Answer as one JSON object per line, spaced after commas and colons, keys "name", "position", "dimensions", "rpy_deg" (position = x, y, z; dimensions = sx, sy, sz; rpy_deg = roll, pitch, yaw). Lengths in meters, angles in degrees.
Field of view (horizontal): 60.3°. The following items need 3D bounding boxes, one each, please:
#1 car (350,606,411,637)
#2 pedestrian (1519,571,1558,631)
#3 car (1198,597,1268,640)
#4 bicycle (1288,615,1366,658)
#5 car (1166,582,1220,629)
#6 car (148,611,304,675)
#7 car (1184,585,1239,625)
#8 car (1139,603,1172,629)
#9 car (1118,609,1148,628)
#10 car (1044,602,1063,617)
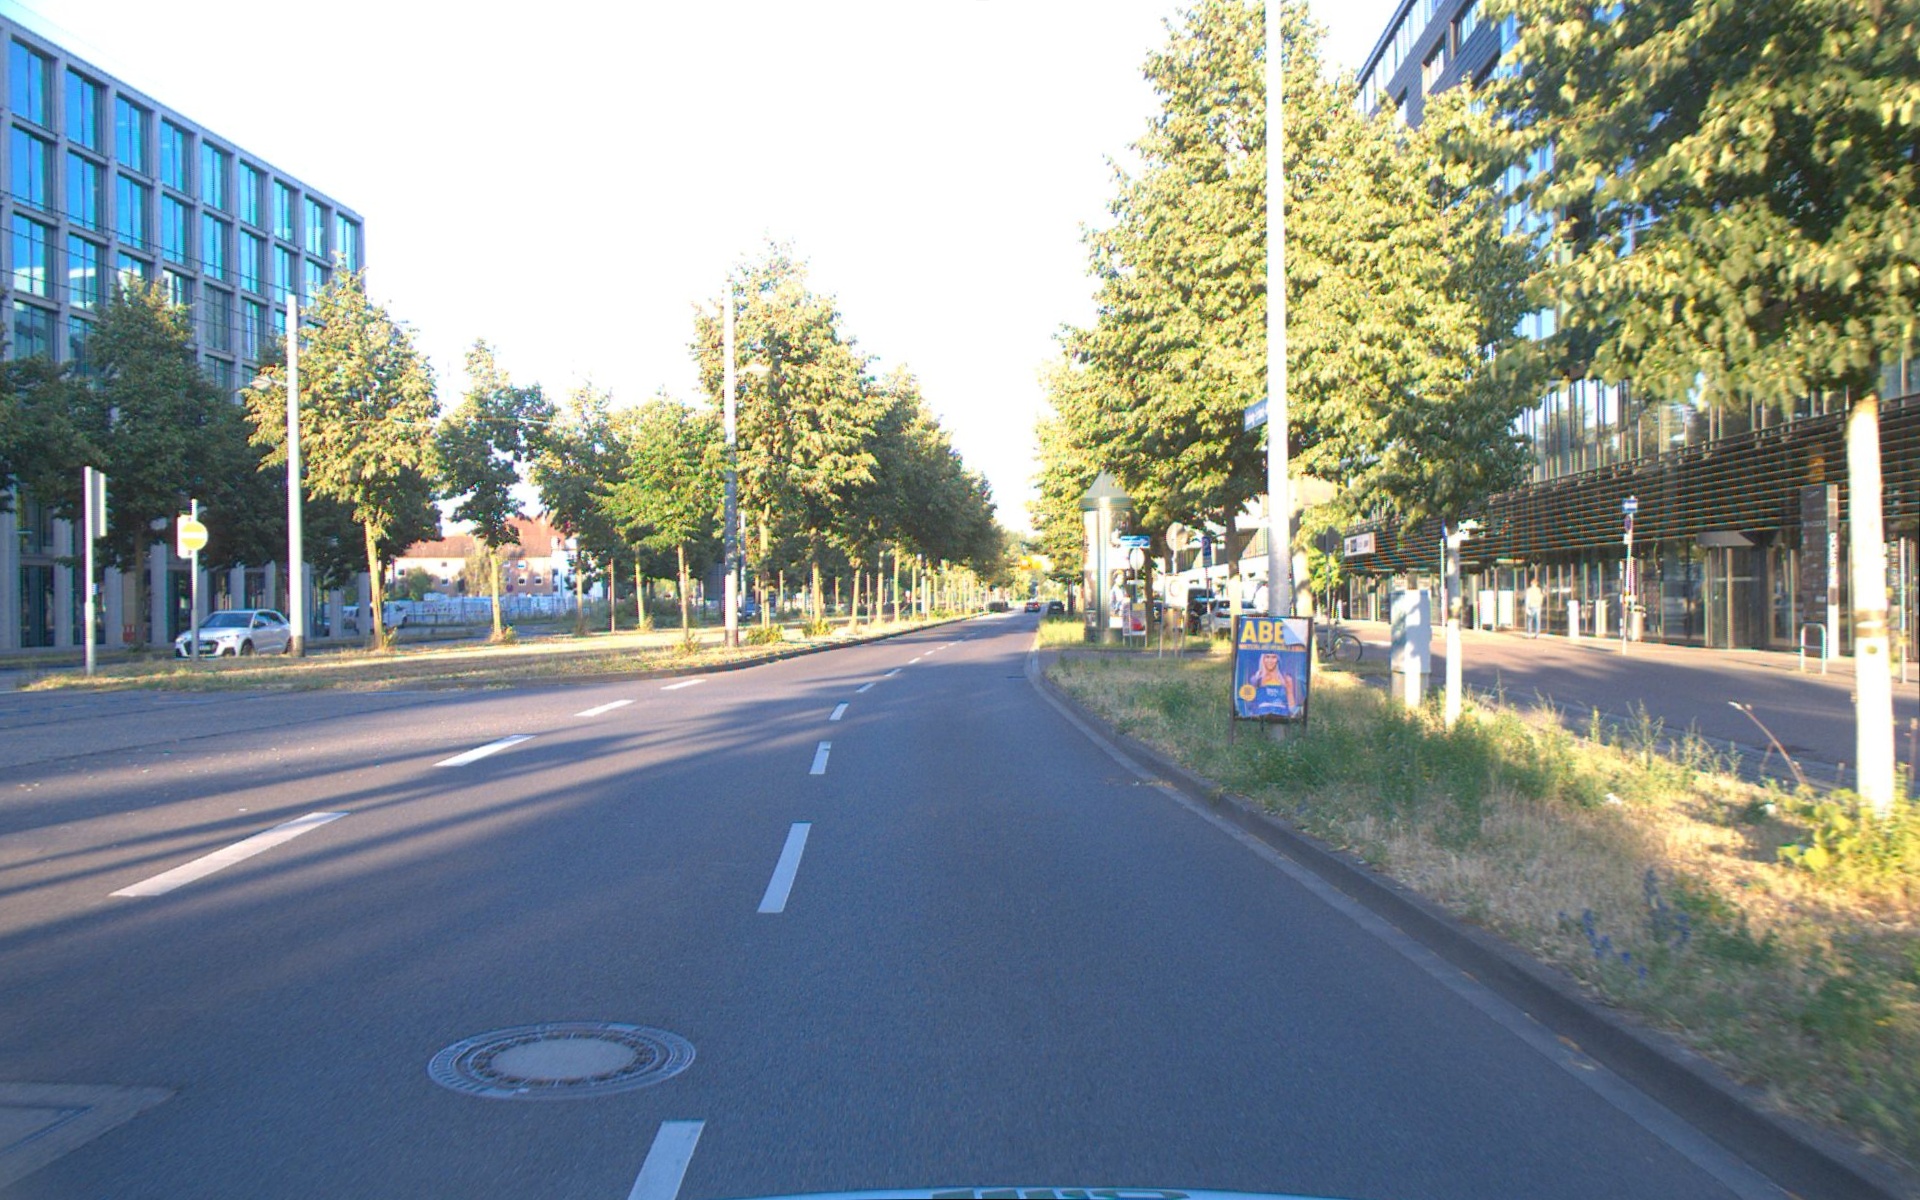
{"name": "car", "position": [-40.002, 1.489, 114.271], "dimensions": [2.160, 2.049, 5.086], "rpy_deg": [-1, 0, 3]}
{"name": "pedestrian", "position": [17.909, 0.039, 51.235], "dimensions": [0.878, 1.828, 0.912], "rpy_deg": [-1, 0, 2]}
{"name": "car", "position": [10.032, 0.673, 61.117], "dimensions": [1.877, 1.523, 5.042], "rpy_deg": [0, 0, 1]}
{"name": "bicycle", "position": [8.124, 0.799, 36.638], "dimensions": [1.689, 0.926, 0.361], "rpy_deg": [-1, 0, 37]}
{"name": "car", "position": [10.497, 0.253, 74.730], "dimensions": [1.945, 2.024, 4.933], "rpy_deg": [0, 0, 2]}
{"name": "car", "position": [-18.868, 1.066, 42.773], "dimensions": [1.863, 1.511, 4.632], "rpy_deg": [-1, 0, 1]}
{"name": "car", "position": [10.164, 0.177, 67.177], "dimensions": [1.820, 1.523, 4.292], "rpy_deg": [-1, 0, 3]}
{"name": "car", "position": [12.220, 0.954, 103.354], "dimensions": [1.743, 1.520, 4.002], "rpy_deg": [2, 0, 3]}
{"name": "car", "position": [13.018, 1.403, 124.905], "dimensions": [1.814, 1.391, 4.834], "rpy_deg": [-1, -1, 1]}
{"name": "car", "position": [9.446, 0.995, 166.805], "dimensions": [1.872, 1.512, 4.001], "rpy_deg": [0, -1, 2]}
